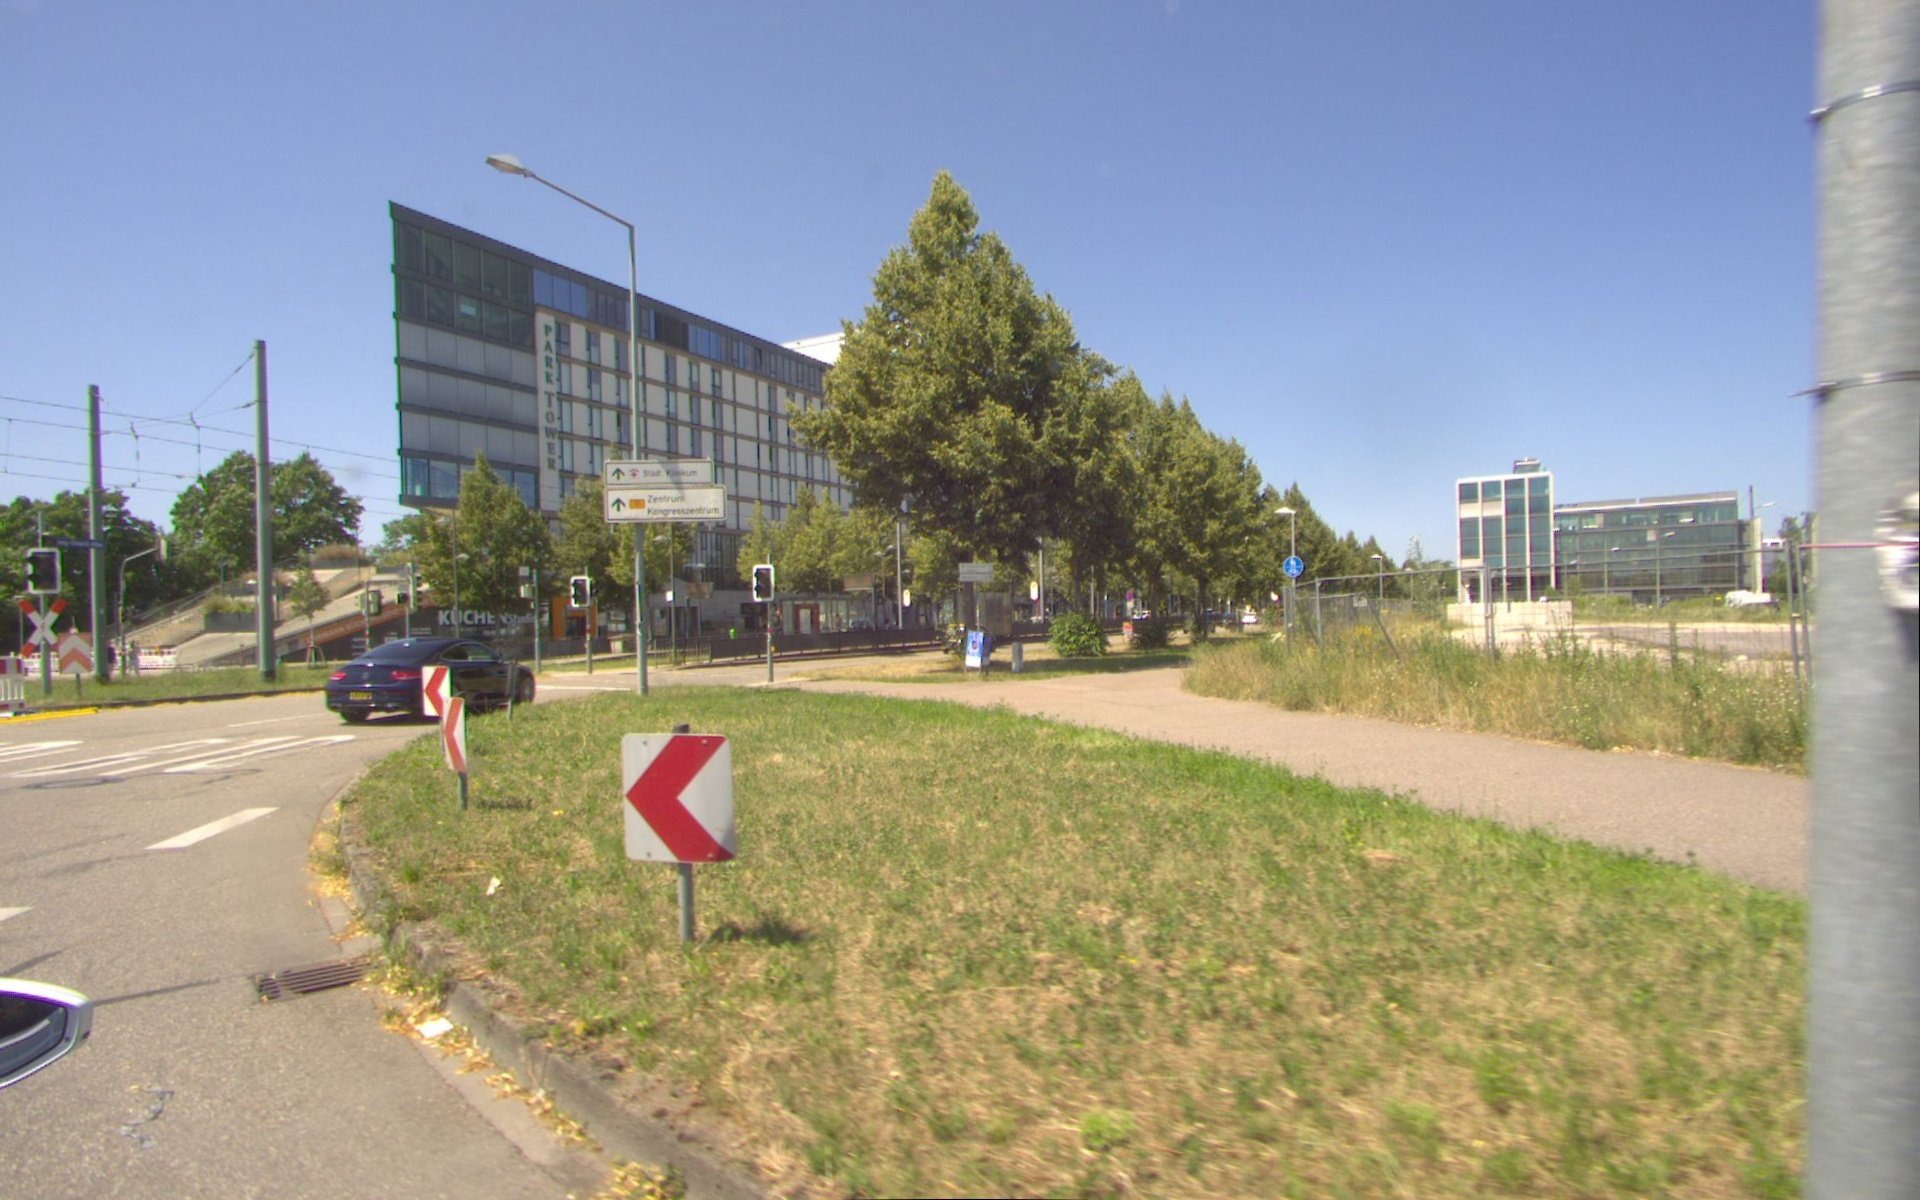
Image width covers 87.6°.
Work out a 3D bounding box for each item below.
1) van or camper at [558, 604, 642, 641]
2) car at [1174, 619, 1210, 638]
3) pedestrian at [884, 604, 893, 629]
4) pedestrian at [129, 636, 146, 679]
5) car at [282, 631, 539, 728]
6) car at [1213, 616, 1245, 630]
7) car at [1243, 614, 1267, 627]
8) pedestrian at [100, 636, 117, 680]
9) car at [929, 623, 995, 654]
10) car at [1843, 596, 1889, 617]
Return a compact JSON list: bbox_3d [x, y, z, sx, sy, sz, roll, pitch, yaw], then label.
[{"bbox_3d":[-29.149,1.866,81.417,2.345,2.858,6.765,-1,-1,25],"label":"van or camper"},{"bbox_3d":[18.914,2.349,81.489,1.968,1.467,4.637,-2,-2,25],"label":"car"},{"bbox_3d":[-5.050,1.155,70.647,0.404,1.774,0.584,-1,0,25],"label":"pedestrian"},{"bbox_3d":[-34.376,2.391,41.864,0.313,1.761,0.447,-1,-1,27],"label":"pedestrian"},{"bbox_3d":[-9.396,1.287,17.707,1.822,1.455,4.957,0,-2,0],"label":"car"},{"bbox_3d":[27.754,2.384,103.104,1.971,1.467,4.737,-2,-2,30],"label":"car"},{"bbox_3d":[33.942,2.354,115.140,1.828,1.467,4.336,-2,-2,28],"label":"car"},{"bbox_3d":[-34.795,2.364,40.923,0.287,1.761,0.447,-1,-1,27],"label":"pedestrian"},{"bbox_3d":[0.129,1.883,49.600,1.599,1.470,3.971,-2,-2,28],"label":"car"},{"bbox_3d":[74.392,0.548,82.272,1.653,1.606,3.612,-3,-3,24],"label":"car"}]
